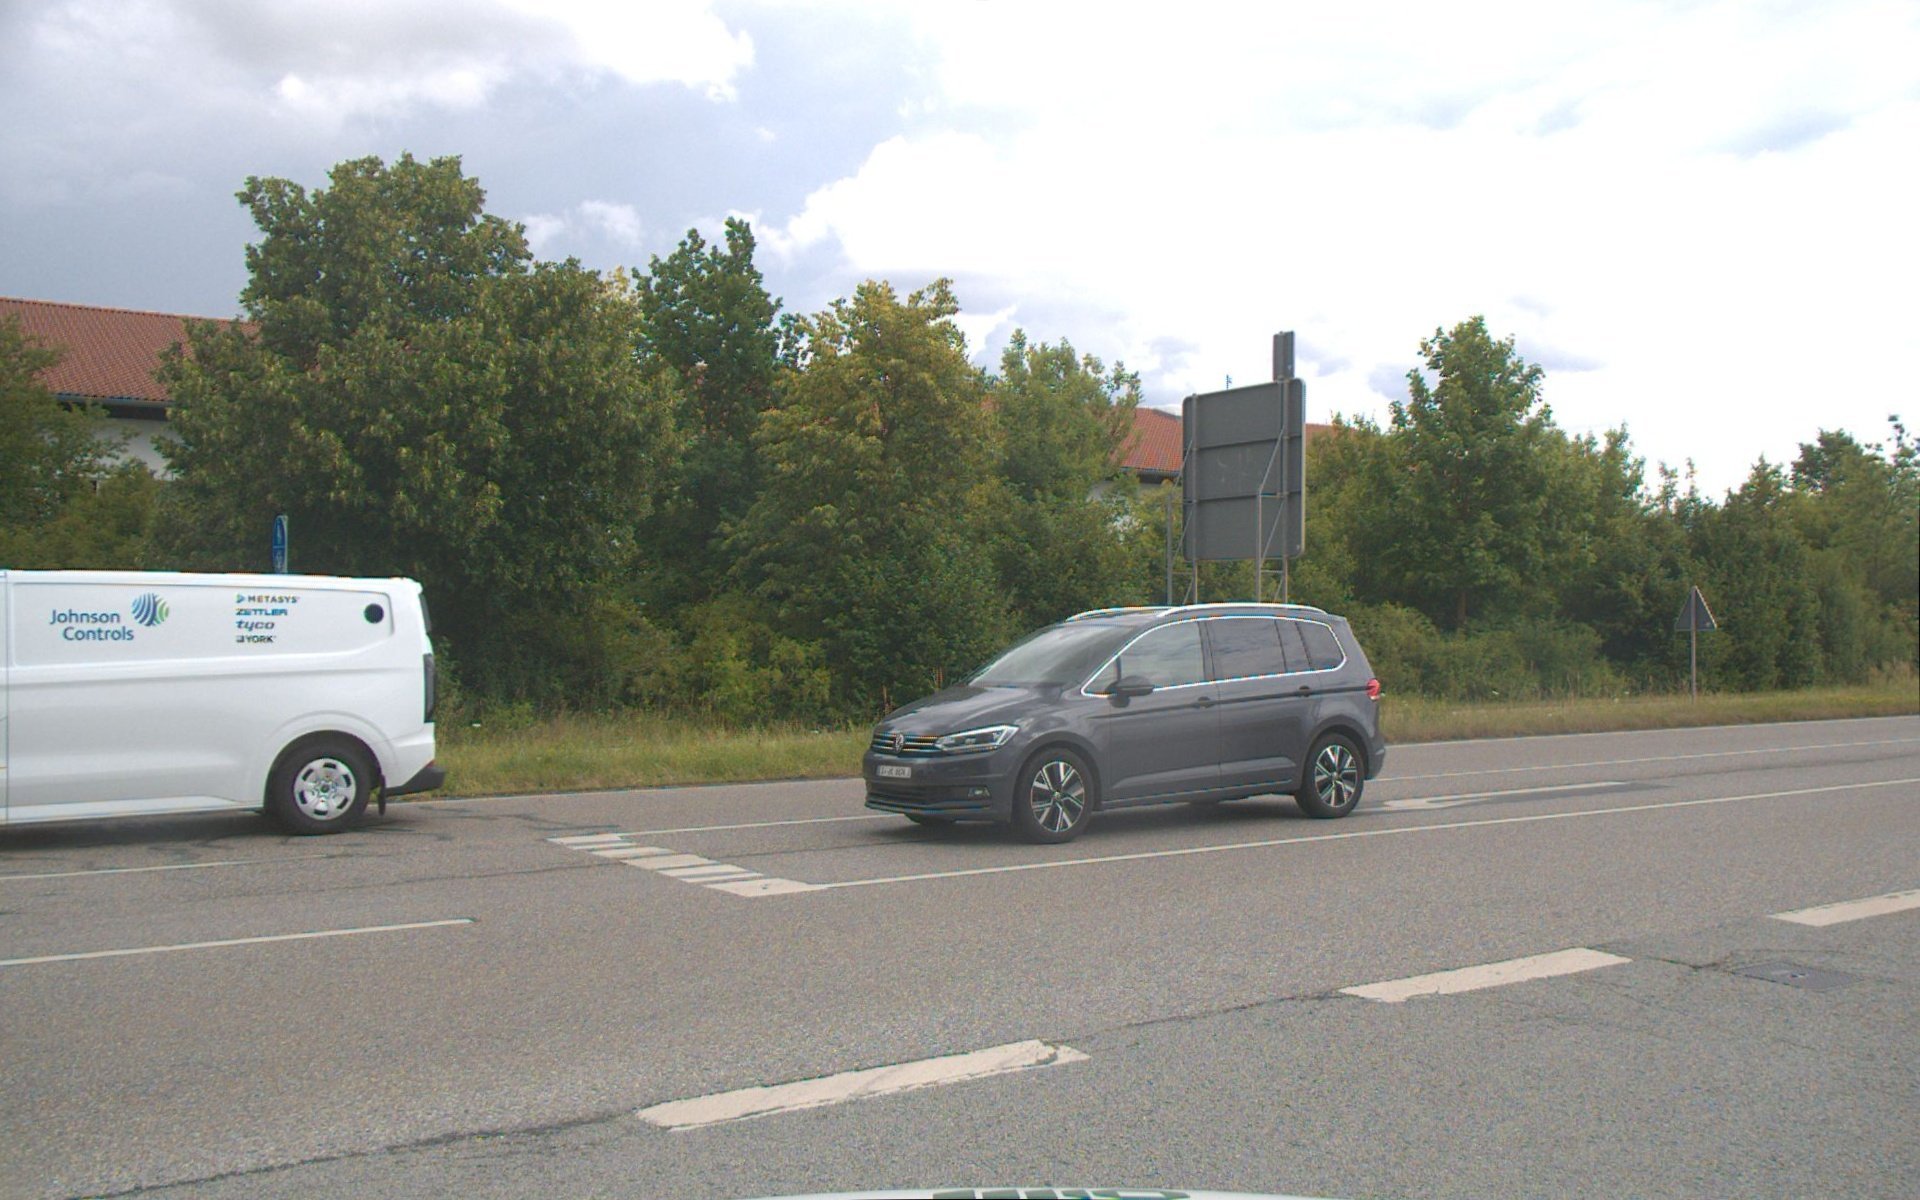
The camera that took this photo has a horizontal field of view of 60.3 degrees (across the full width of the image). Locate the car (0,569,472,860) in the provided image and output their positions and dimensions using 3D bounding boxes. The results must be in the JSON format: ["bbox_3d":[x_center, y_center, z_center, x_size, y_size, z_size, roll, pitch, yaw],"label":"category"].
[{"bbox_3d":[-6.517,0.768,12.071,5.325,1.919,2.088,0,-1,-34],"label":"car"}]

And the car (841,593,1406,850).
[{"bbox_3d":[1.341,0.819,12.799,4.239,1.687,1.733,0,-2,-34],"label":"car"}]
